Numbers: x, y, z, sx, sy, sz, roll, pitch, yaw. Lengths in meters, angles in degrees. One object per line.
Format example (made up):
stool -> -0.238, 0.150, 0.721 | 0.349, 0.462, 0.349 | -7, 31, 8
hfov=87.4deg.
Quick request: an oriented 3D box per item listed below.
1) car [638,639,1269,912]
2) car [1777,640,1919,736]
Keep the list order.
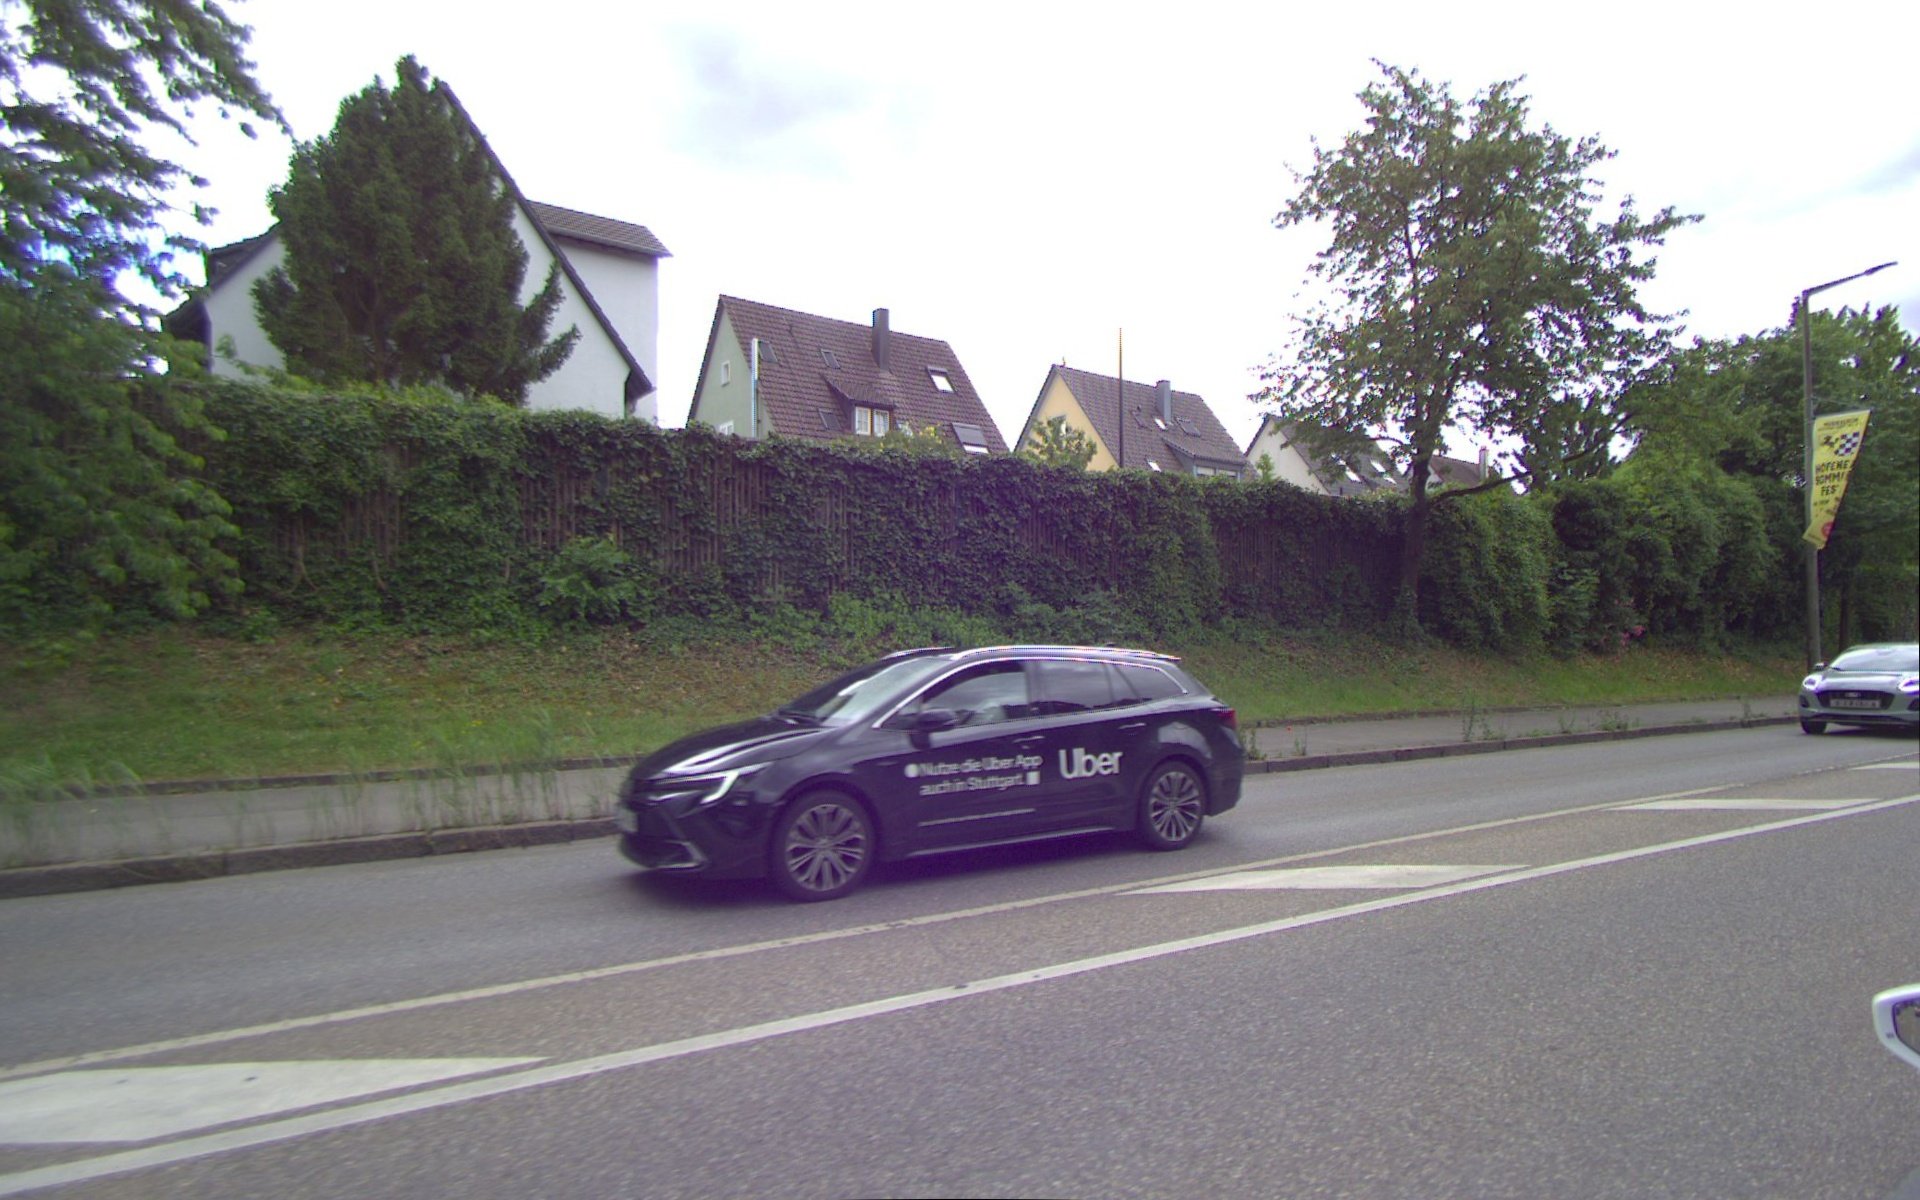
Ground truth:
car -> 0.056, 1.012, 7.109 | 4.168, 1.418, 1.757 | 2, -4, -32
car -> 16.055, 1.458, 17.321 | 4.097, 1.476, 1.817 | 2, -4, -32
